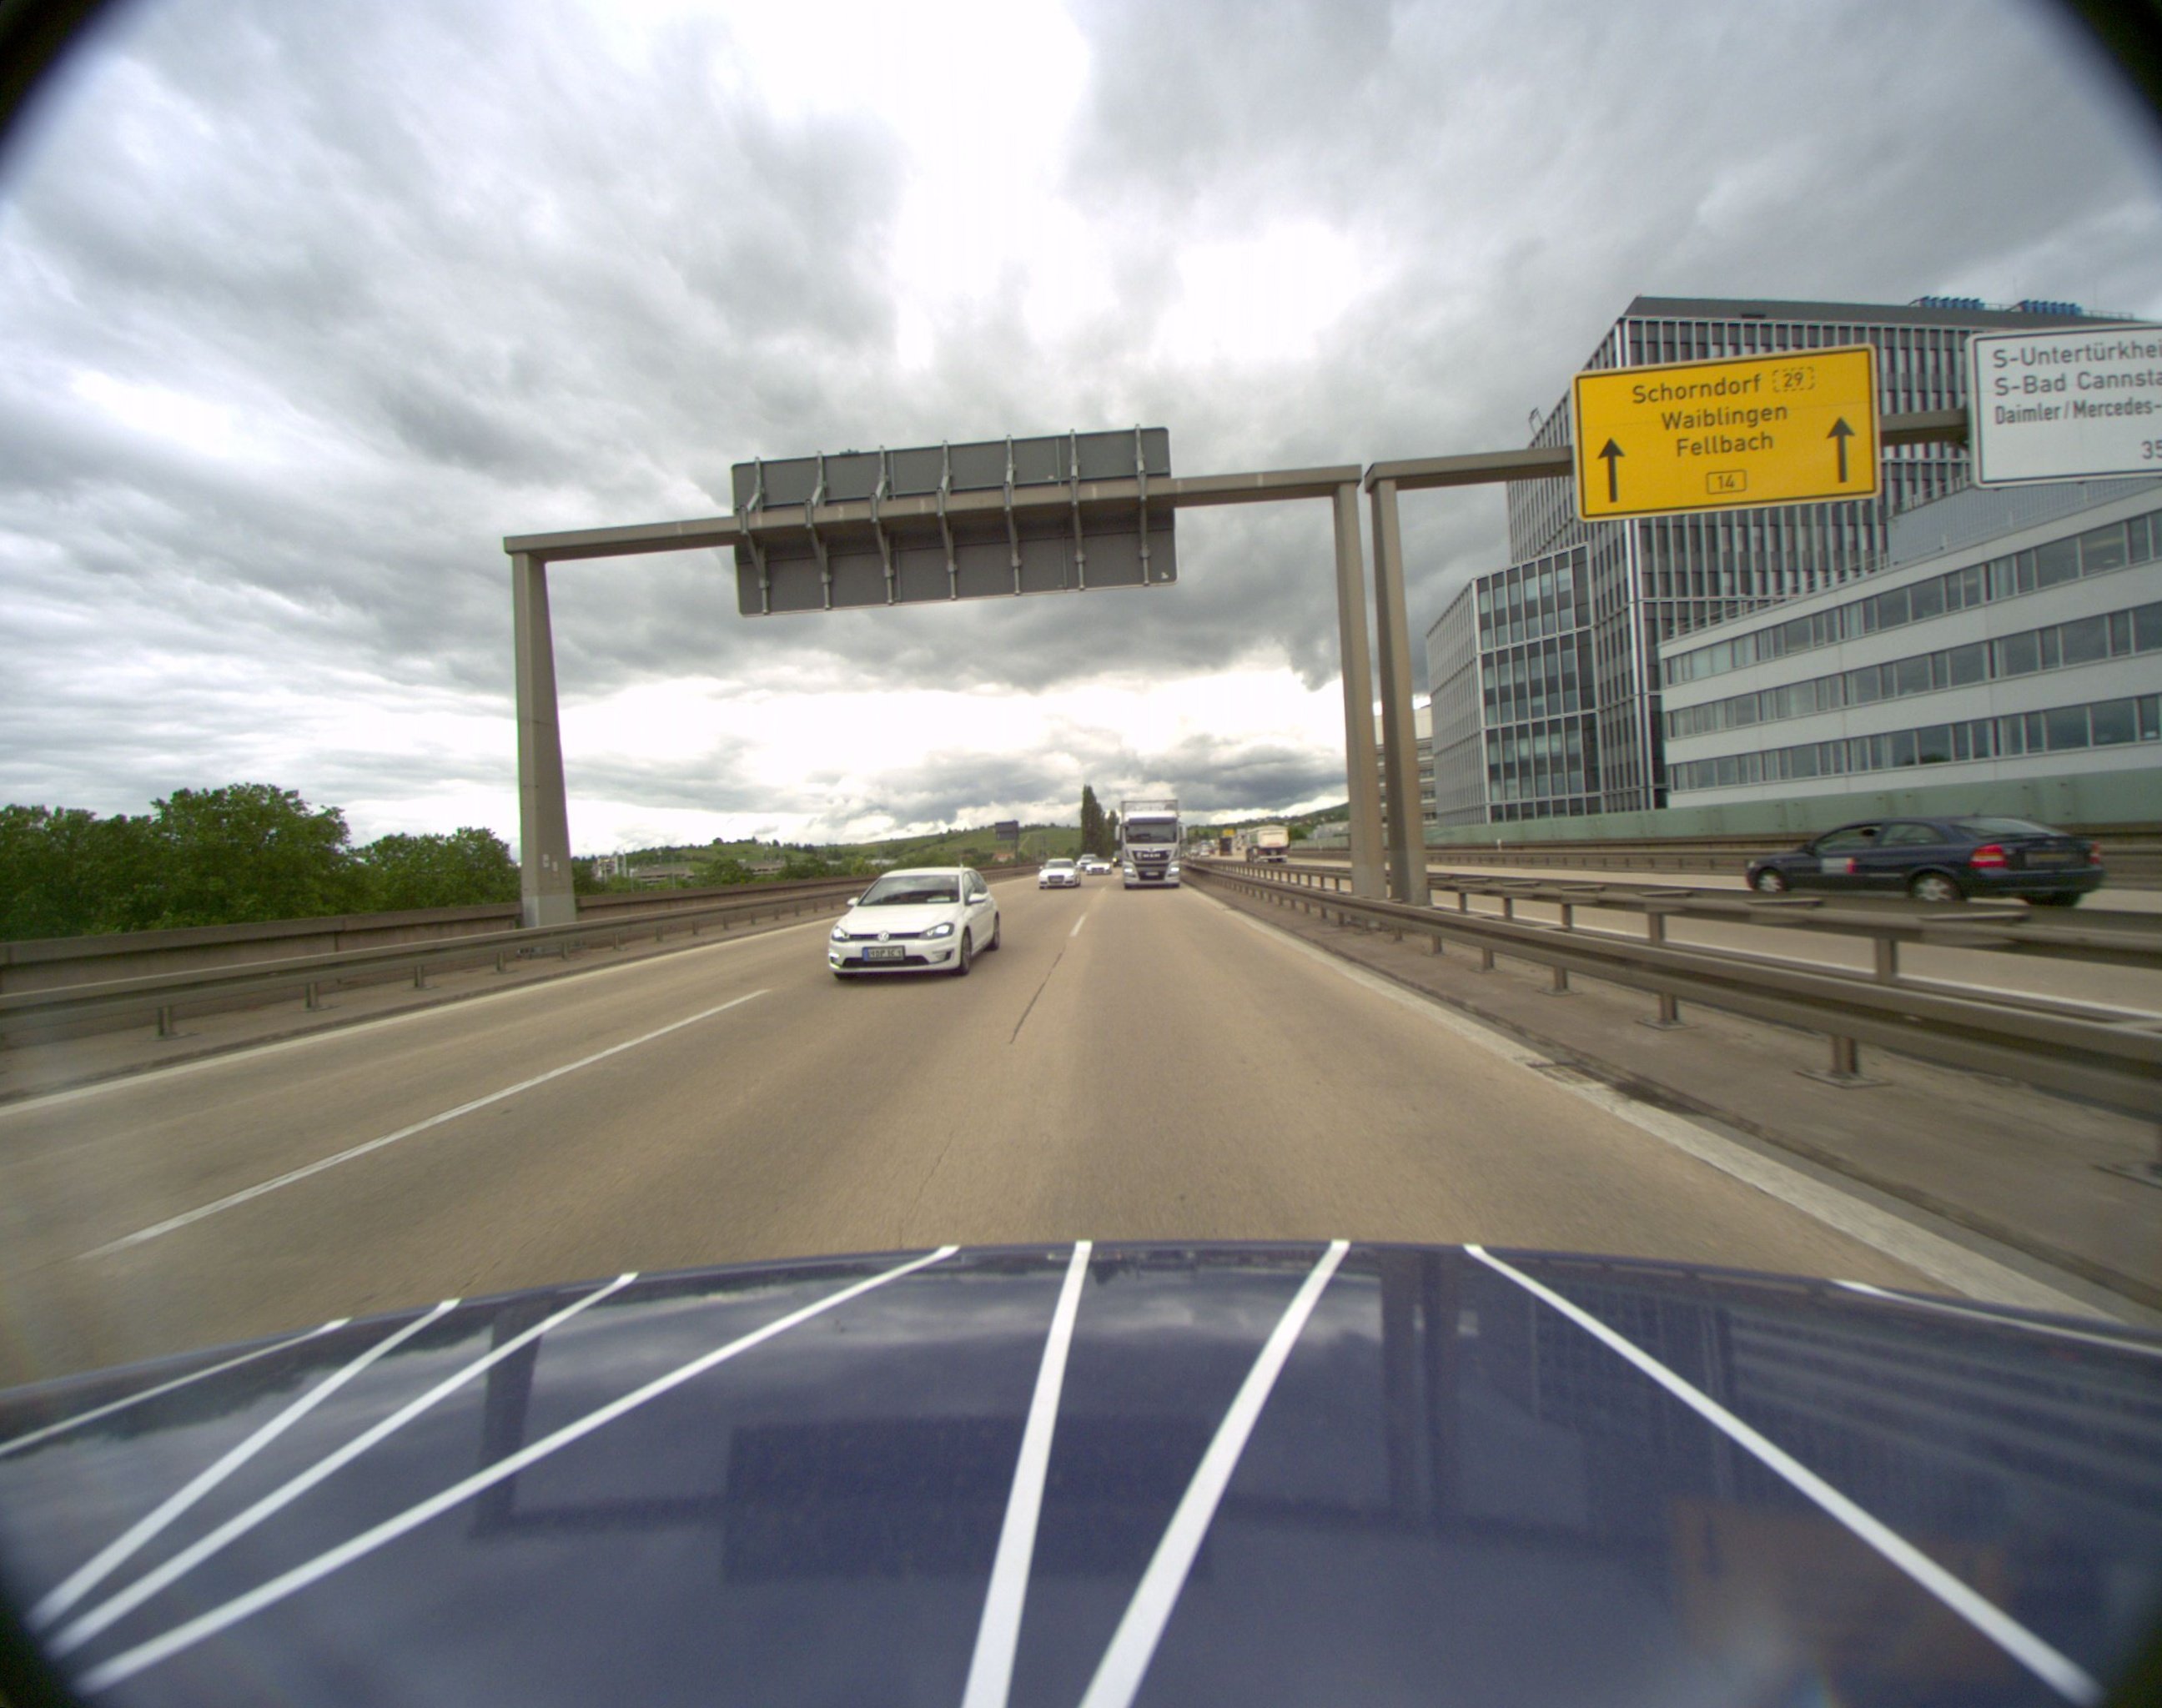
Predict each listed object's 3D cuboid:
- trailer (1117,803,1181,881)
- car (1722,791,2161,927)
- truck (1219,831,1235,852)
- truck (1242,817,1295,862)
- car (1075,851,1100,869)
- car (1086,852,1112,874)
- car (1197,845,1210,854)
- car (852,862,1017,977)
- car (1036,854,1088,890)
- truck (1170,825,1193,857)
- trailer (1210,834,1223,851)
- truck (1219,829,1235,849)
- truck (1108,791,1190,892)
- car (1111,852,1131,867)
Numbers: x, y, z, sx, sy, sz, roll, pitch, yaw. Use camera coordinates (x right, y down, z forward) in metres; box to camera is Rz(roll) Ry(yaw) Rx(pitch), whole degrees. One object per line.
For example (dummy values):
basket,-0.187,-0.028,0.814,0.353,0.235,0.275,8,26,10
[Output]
trailer,4.225,-0.720,47.163,3.188,4.003,11.768,-4,0,5
car,12.925,0.034,11.953,1.998,1.665,4.407,-2,1,1
truck,30.147,-2.534,156.876,3.062,4.042,8.669,-2,1,11
truck,17.513,-1.364,71.845,3.063,3.754,12.522,-2,1,6
car,0.726,0.597,77.012,1.929,1.585,4.063,-3,1,8
car,1.497,0.687,61.260,1.930,1.585,4.061,-3,1,2
car,24.380,-0.927,151.368,1.998,1.597,4.808,-2,1,4
car,-2.294,0.980,13.060,1.930,1.499,4.061,-2,1,1
car,-0.891,0.851,37.559,1.930,1.499,4.063,-3,1,7
truck,15.404,-1.986,116.917,3.063,4.536,12.075,-2,1,7
trailer,37.302,-3.204,209.581,2.850,3.966,11.886,-2,3,8
truck,32.176,-3.282,166.957,3.062,4.042,11.865,-2,1,12
truck,3.069,-0.542,34.305,3.141,4.014,5.690,-4,1,5
car,4.856,0.672,90.760,1.929,1.585,4.063,-3,1,8
